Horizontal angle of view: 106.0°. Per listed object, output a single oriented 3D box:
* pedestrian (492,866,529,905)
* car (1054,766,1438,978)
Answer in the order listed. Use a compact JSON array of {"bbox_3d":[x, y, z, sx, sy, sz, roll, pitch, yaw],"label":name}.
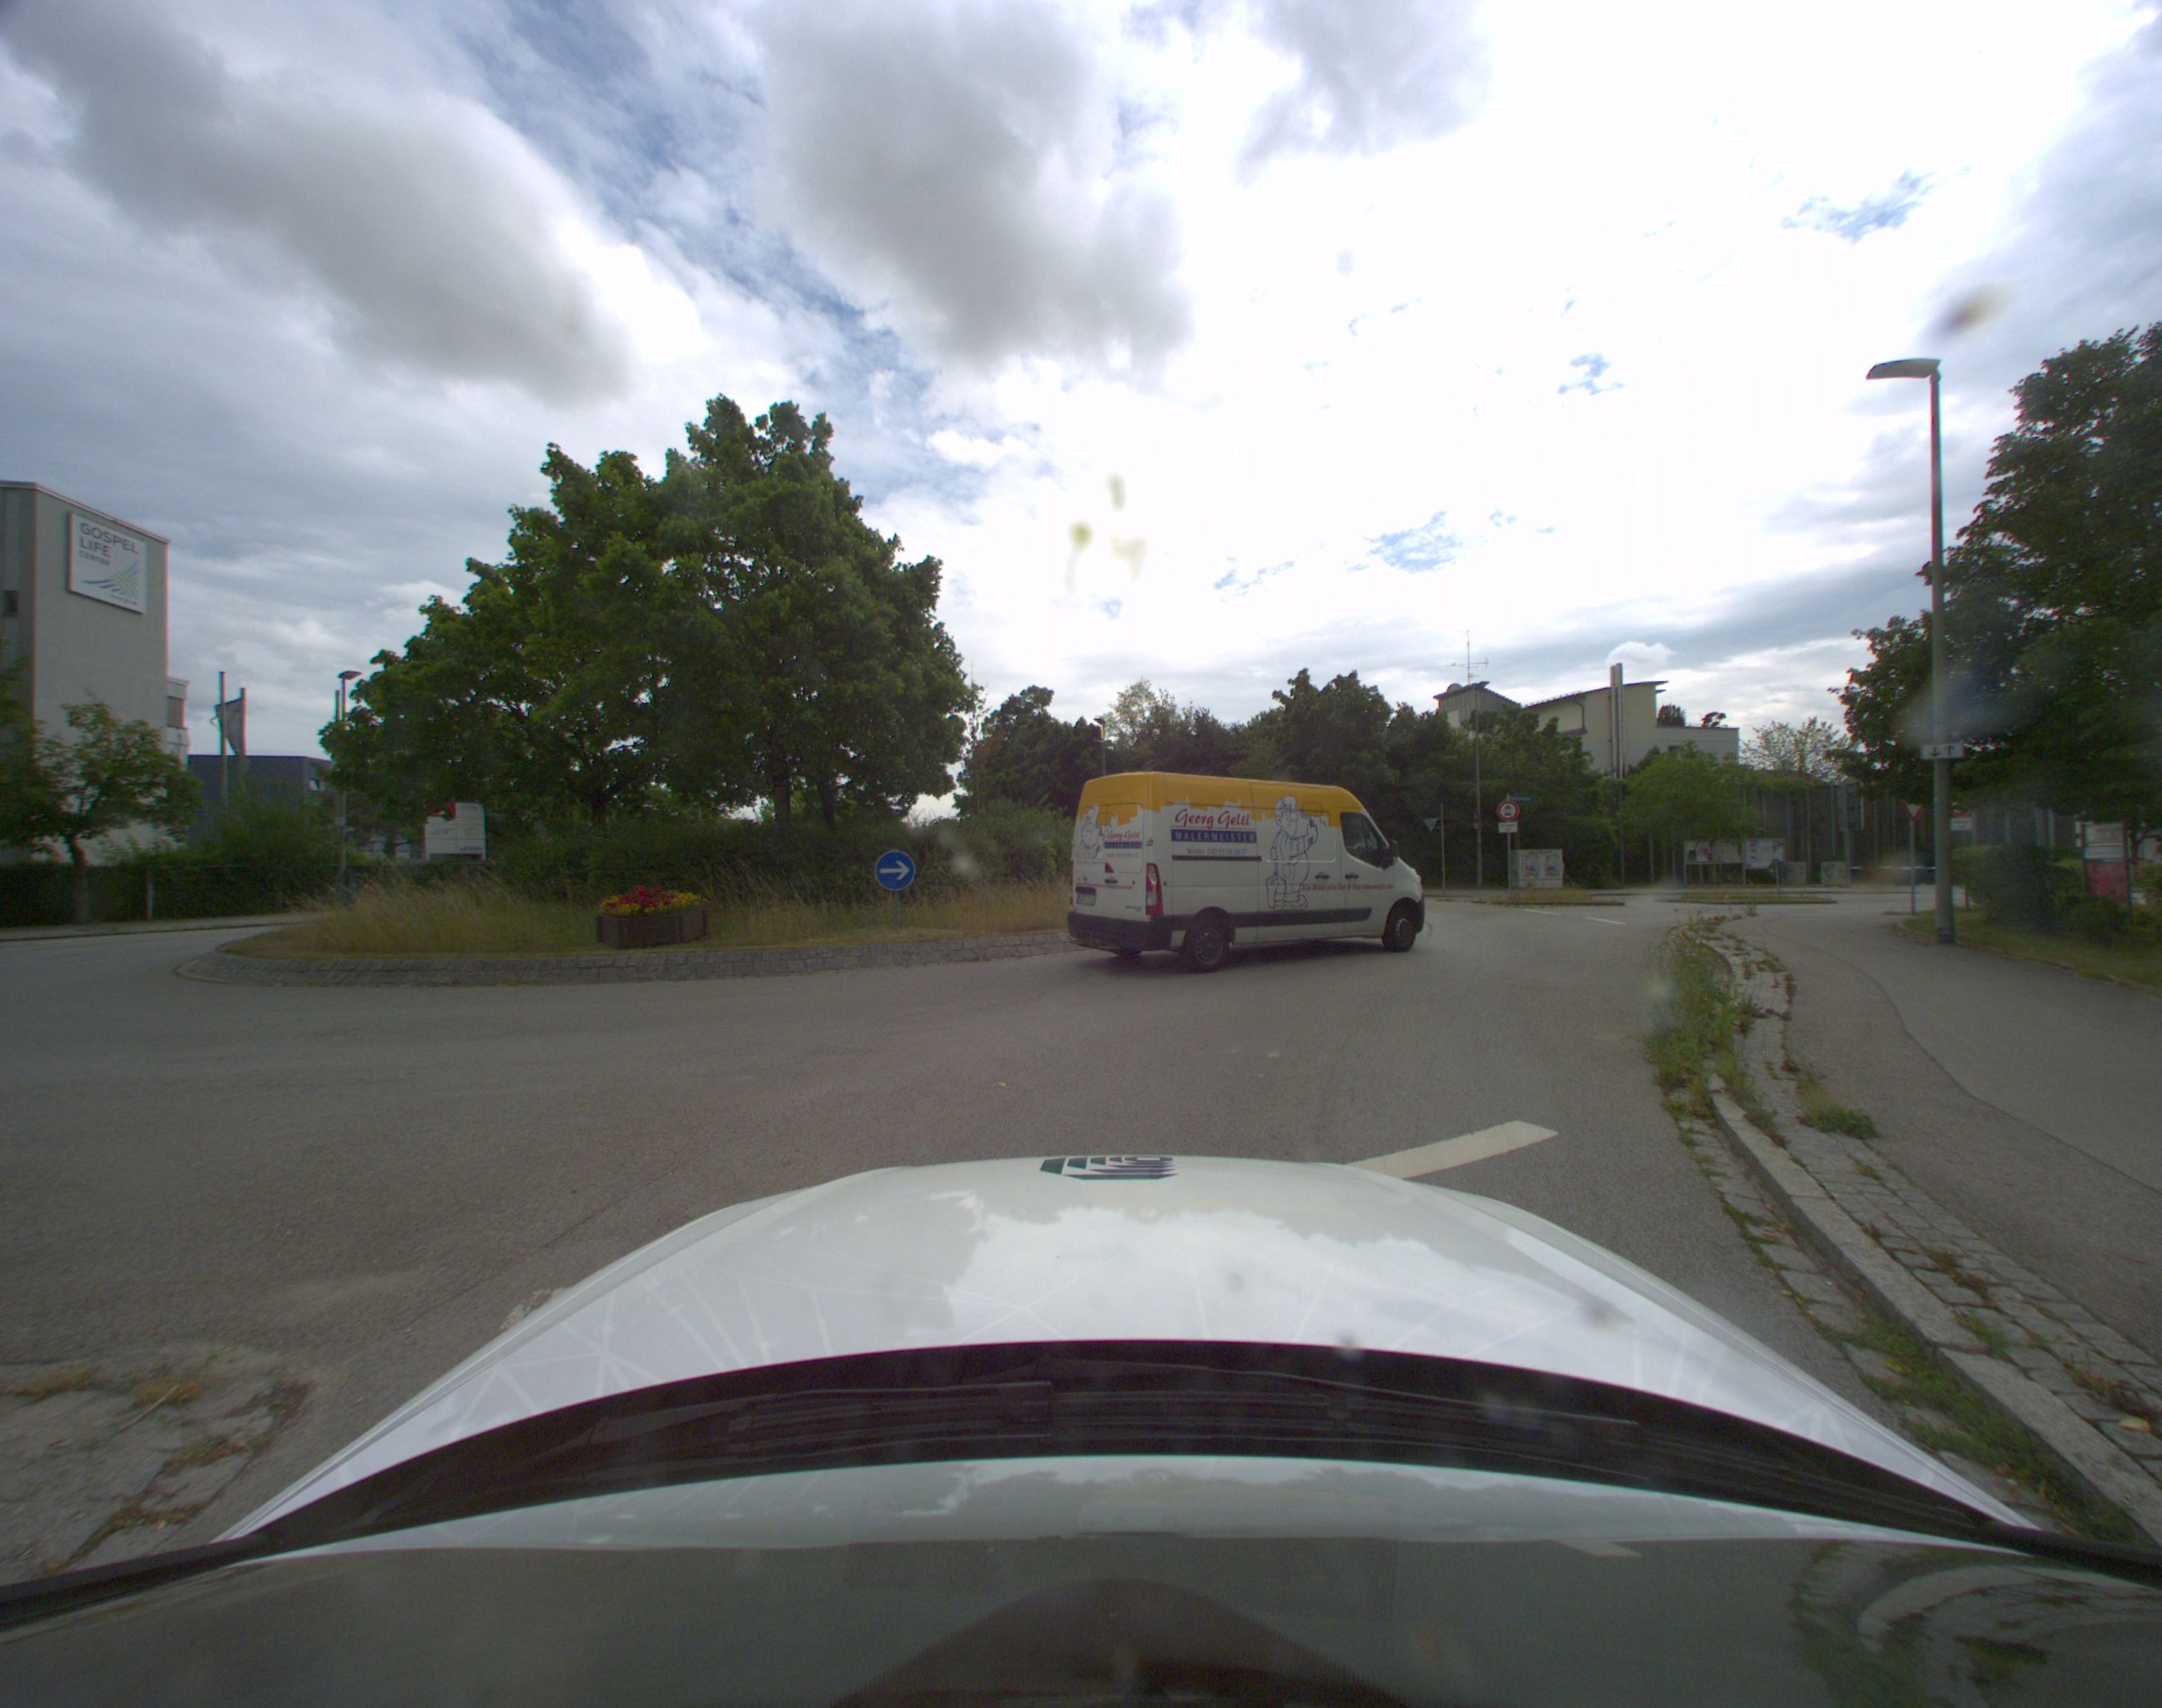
[{"bbox_3d":[-21.799,1.192,31.139,0.627,1.468,0.951,-1,0,10],"label":"pedestrian"},{"bbox_3d":[2.502,0.183,11.779,5.459,2.452,2.148,0,1,-31],"label":"car"}]
